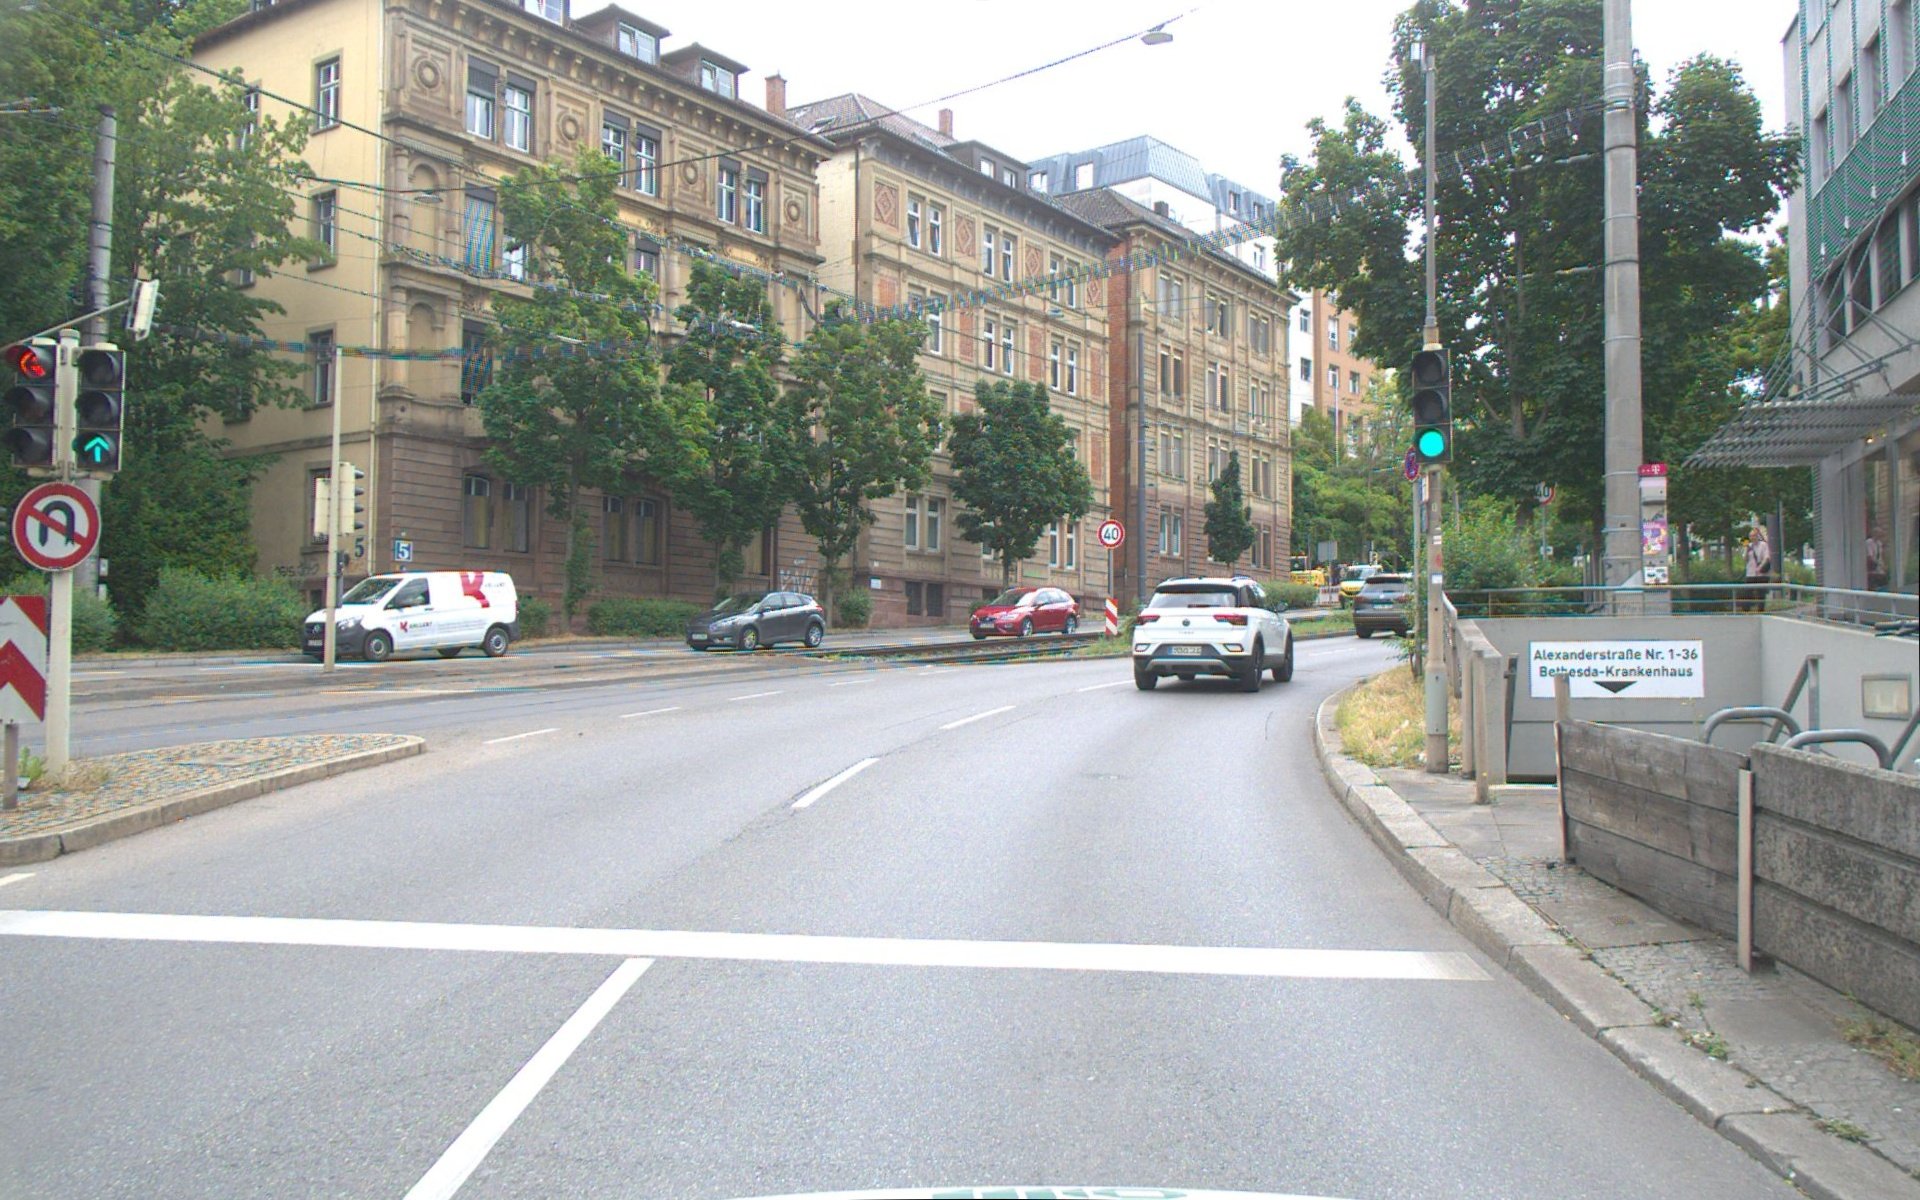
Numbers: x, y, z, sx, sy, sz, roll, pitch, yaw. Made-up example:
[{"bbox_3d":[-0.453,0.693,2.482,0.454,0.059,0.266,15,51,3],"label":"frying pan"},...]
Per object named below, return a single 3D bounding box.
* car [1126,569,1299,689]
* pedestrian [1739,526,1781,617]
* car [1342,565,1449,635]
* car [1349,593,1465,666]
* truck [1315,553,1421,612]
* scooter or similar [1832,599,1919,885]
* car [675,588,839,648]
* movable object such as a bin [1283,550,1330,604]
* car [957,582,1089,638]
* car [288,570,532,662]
[{"bbox_3d":[3.799,0.404,24.326,1.897,1.594,4.048,-1,-1,17],"label":"car"},{"bbox_3d":[16.330,-0.581,33.758,0.659,1.826,0.609,0,0,15],"label":"pedestrian"},{"bbox_3d":[11.547,0.011,43.686,1.805,1.770,3.993,0,-1,29],"label":"car"},{"bbox_3d":[10.709,0.703,39.476,1.866,1.601,3.829,2,0,28],"label":"car"},{"bbox_3d":[21.843,-0.900,88.277,2.871,2.550,7.129,10,4,34],"label":"truck"},{"bbox_3d":[4.652,0.599,7.554,1.428,1.202,0.576,-2,1,-34],"label":"scooter or similar"},{"bbox_3d":[-5.094,0.429,42.045,1.712,1.452,4.391,0,0,34],"label":"car"},{"bbox_3d":[19.240,-1.277,91.858,1.956,2.888,2.026,-2,-1,29],"label":"movable object such as a bin"},{"bbox_3d":[1.907,0.293,48.793,1.958,1.545,4.394,0,0,33],"label":"car"},{"bbox_3d":[-12.011,0.317,36.463,1.959,1.882,4.977,0,0,34],"label":"car"}]
